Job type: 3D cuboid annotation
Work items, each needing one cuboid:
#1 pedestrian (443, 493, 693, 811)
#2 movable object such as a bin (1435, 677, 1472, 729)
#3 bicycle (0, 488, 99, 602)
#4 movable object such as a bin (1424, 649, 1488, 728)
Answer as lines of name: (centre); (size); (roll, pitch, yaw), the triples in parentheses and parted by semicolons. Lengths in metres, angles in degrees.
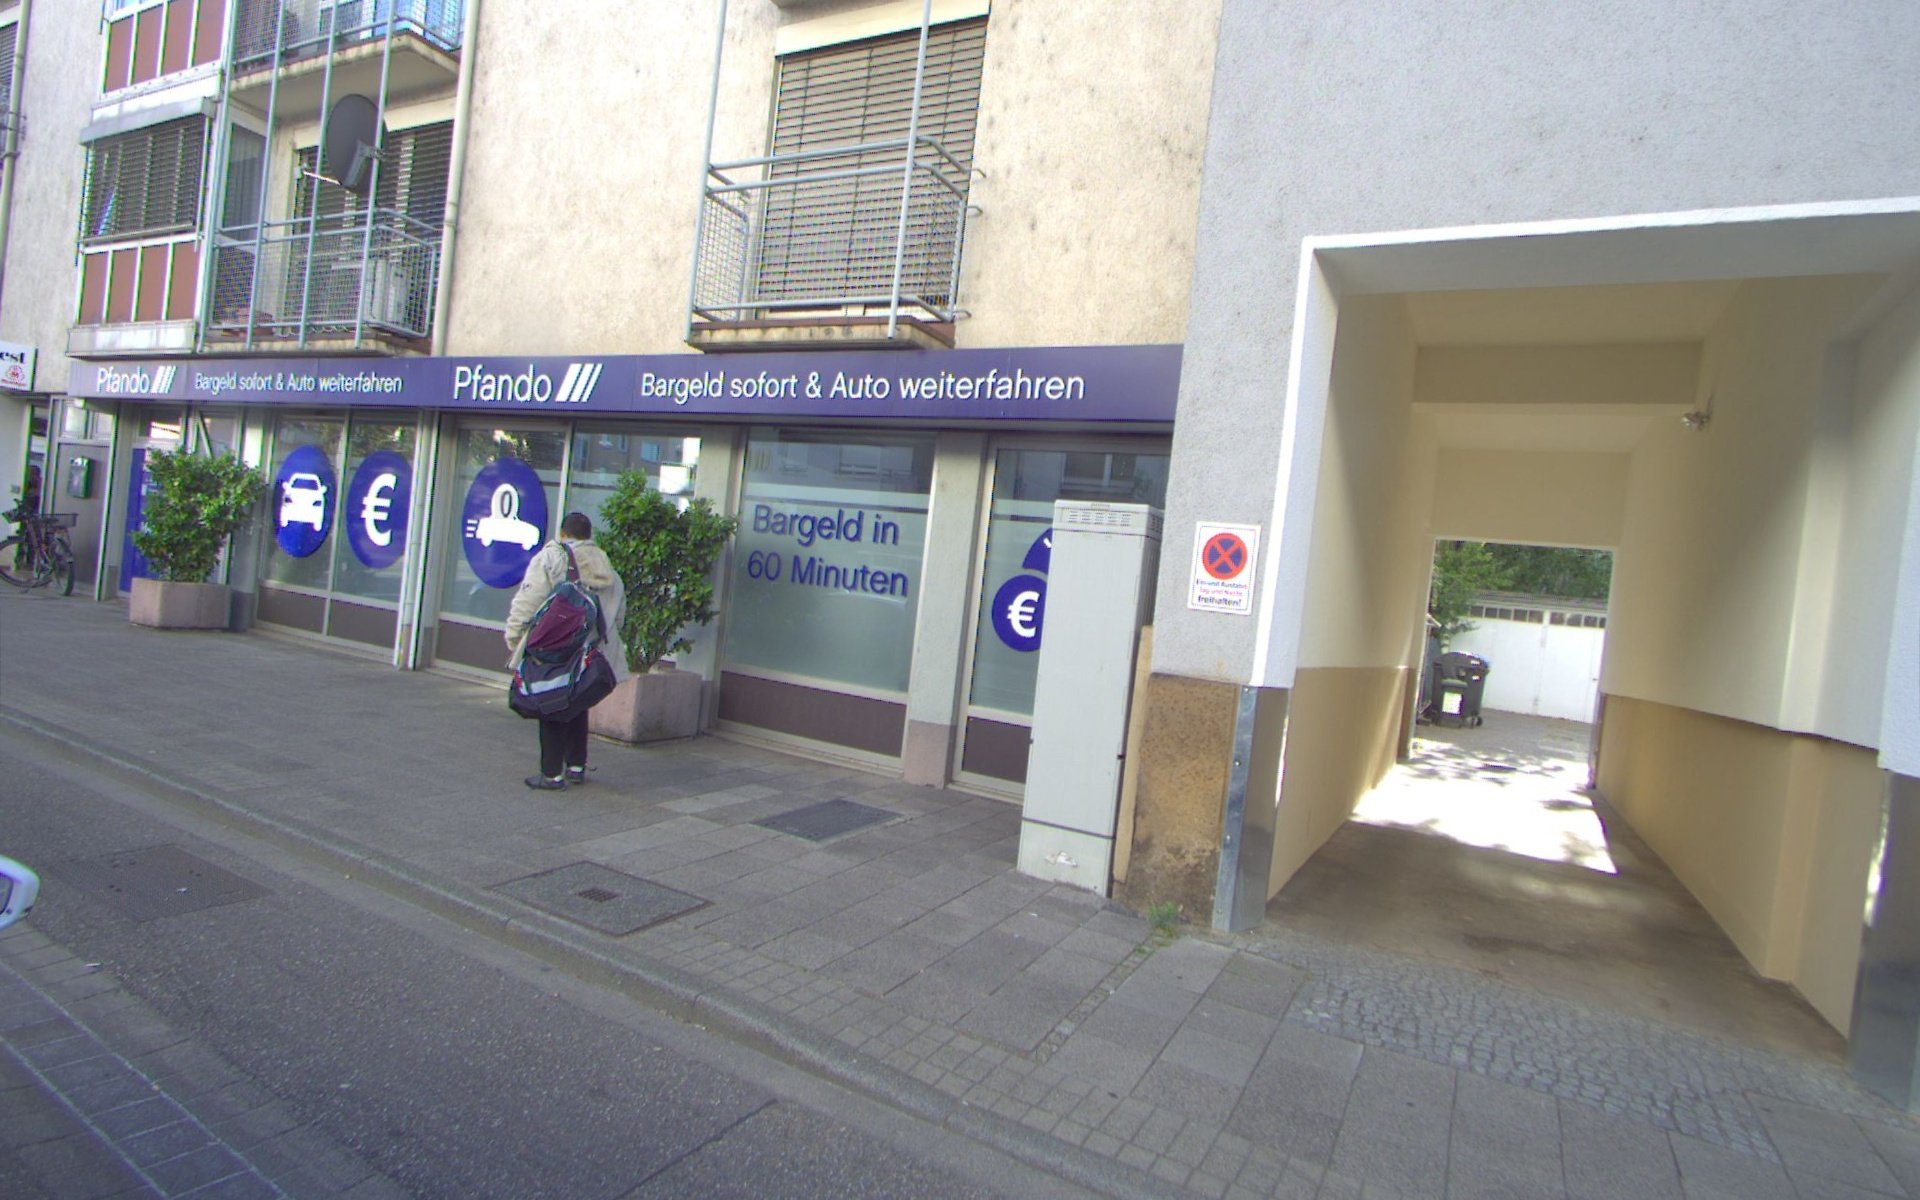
pedestrian: (-2.225, 0.263, 5.745); (0.853, 1.593, 0.874); (8, 3, 29)
movable object such as a bin: (9.551, 1.978, 19.457); (0.518, 0.922, 0.580); (7, 1, 29)
bicycle: (-11.854, -0.729, 12.882); (1.879, 1.280, 0.640); (7, 1, 32)
movable object such as a bin: (10.102, 1.785, 20.460); (0.945, 1.426, 1.598); (7, 1, 29)
